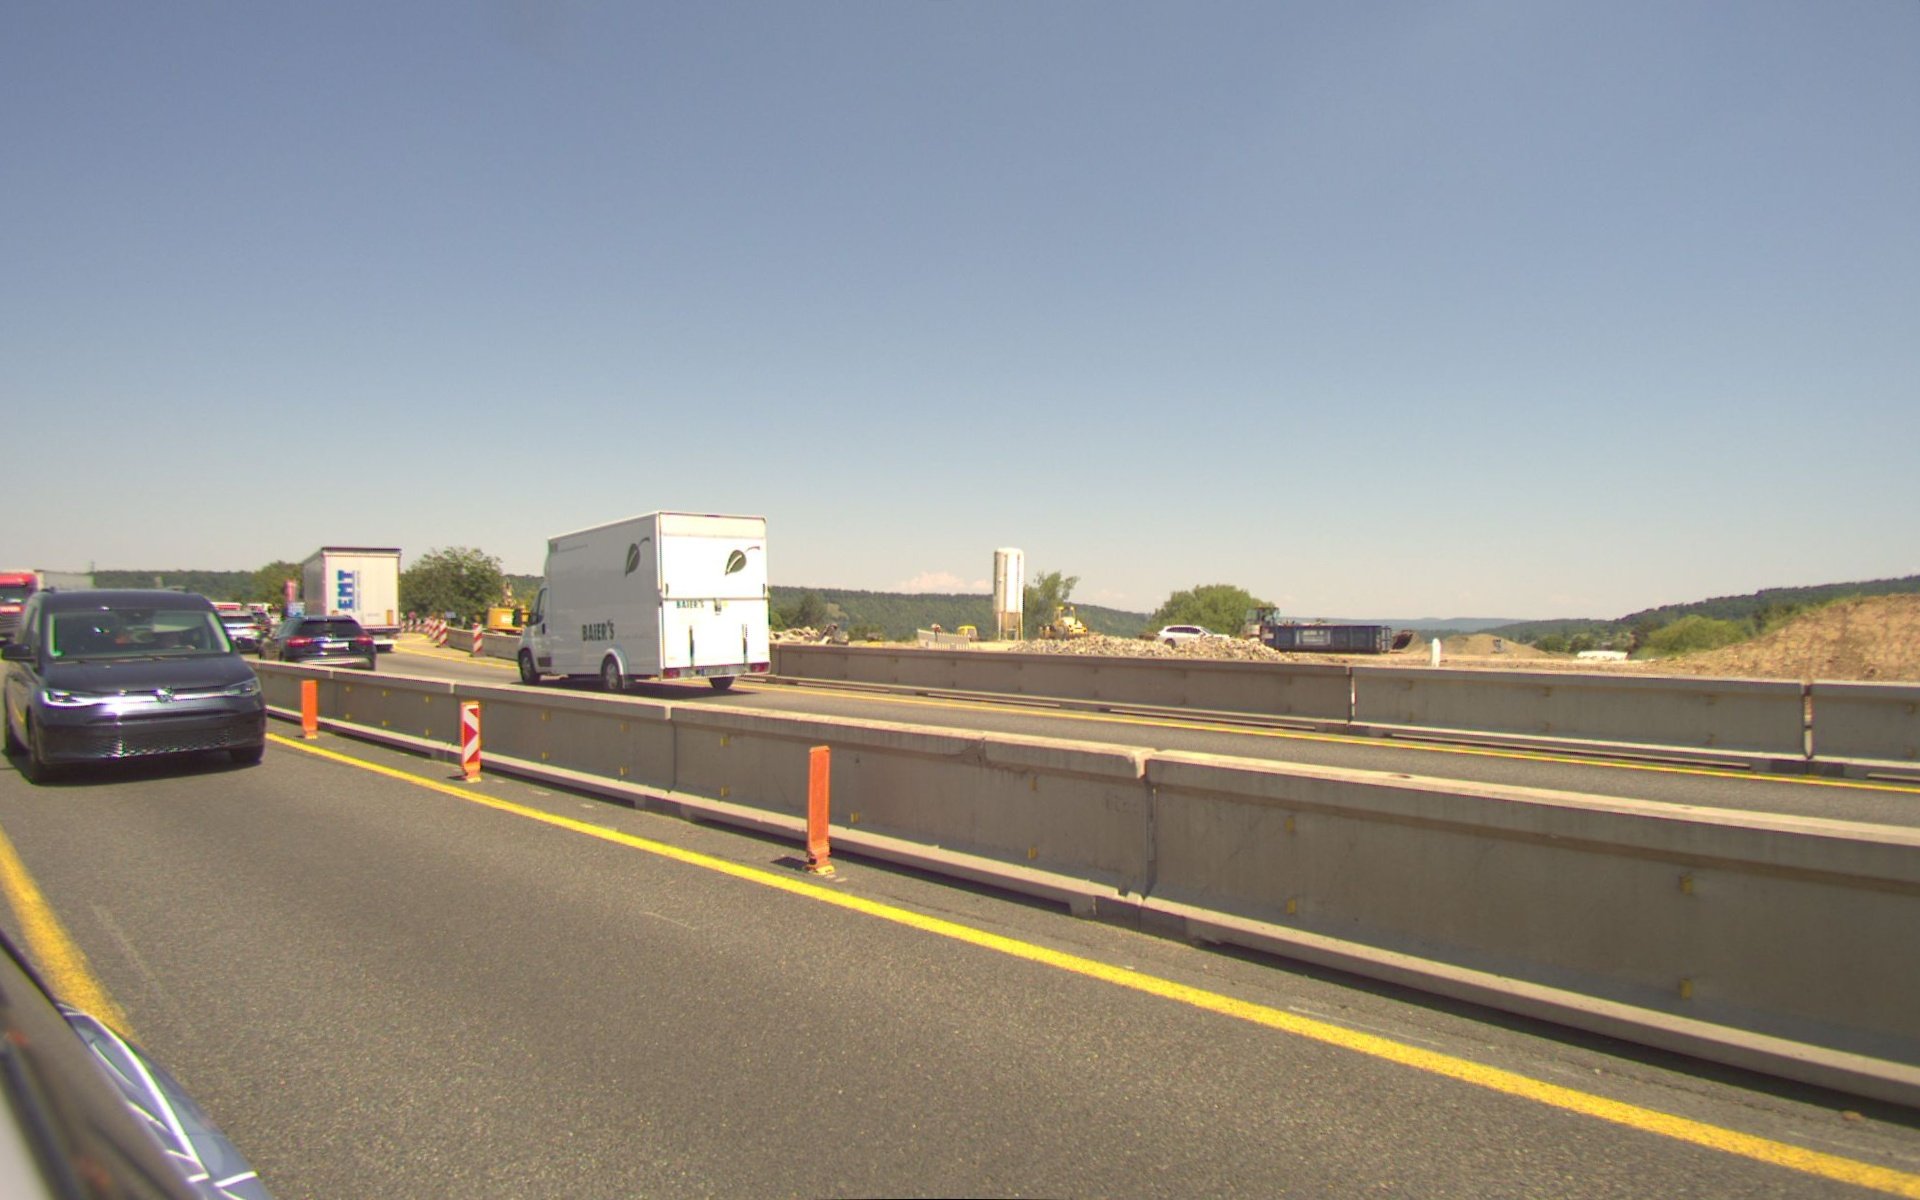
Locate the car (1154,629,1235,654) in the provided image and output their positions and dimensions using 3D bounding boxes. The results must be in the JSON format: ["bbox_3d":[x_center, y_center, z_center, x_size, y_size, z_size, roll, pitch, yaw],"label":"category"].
[{"bbox_3d":[13.890,2.422,60.115,4.440,1.420,1.596,-1,-2,38],"label":"car"}]

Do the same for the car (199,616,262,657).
[{"bbox_3d":[-28.606,1.407,39.794,1.771,1.487,4.790,1,-2,-33],"label":"car"}]

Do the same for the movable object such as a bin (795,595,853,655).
[{"bbox_3d":[-7.621,1.384,56.347,1.965,3.165,4.291,1,-2,-26],"label":"movable object such as a bin"}]

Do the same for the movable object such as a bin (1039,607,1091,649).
[{"bbox_3d":[8.127,2.155,78.939,1.965,3.165,4.500,1,-2,-26],"label":"movable object such as a bin"}]

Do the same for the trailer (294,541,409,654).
[{"bbox_3d":[-26.418,0.057,43.472,2.724,4.146,14.007,1,-2,-37],"label":"trailer"}]

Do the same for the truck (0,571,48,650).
[{"bbox_3d":[-48.955,0.561,51.894,2.585,3.933,4.946,1,-2,-35],"label":"truck"}]

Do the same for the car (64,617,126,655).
[{"bbox_3d":[-42.119,1.723,49.349,1.770,1.800,4.011,1,-2,-33],"label":"car"}]

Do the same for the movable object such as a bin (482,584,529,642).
[{"bbox_3d":[-36.360,1.059,80.763,2.883,4.362,9.356,1,-2,-27],"label":"movable object such as a bin"}]

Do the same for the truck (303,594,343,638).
[{"bbox_3d":[-47.392,1.233,75.363,2.408,3.095,7.268,1,-2,-32],"label":"truck"}]

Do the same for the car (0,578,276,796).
[{"bbox_3d":[-8.891,0.748,10.678,4.605,1.803,1.899,-1,-1,45],"label":"car"}]

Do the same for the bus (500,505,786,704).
[{"bbox_3d":[-6.357,0.153,19.487,2.321,3.149,7.235,1,-2,-44],"label":"bus"}]

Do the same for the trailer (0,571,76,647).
[{"bbox_3d":[-52.610,0.592,57.206,2.659,3.904,12.453,1,-2,-35],"label":"trailer"}]

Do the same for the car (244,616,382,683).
[{"bbox_3d":[-15.184,1.108,23.652,4.401,1.425,1.788,-1,-2,45],"label":"car"}]

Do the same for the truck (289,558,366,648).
[{"bbox_3d":[-30.843,0.198,49.287,2.666,4.093,5.513,1,-2,-37],"label":"truck"}]

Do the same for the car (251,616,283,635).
[{"bbox_3d":[-72.972,2.640,106.487,4.893,1.968,1.845,-1,-2,44],"label":"car"}]
